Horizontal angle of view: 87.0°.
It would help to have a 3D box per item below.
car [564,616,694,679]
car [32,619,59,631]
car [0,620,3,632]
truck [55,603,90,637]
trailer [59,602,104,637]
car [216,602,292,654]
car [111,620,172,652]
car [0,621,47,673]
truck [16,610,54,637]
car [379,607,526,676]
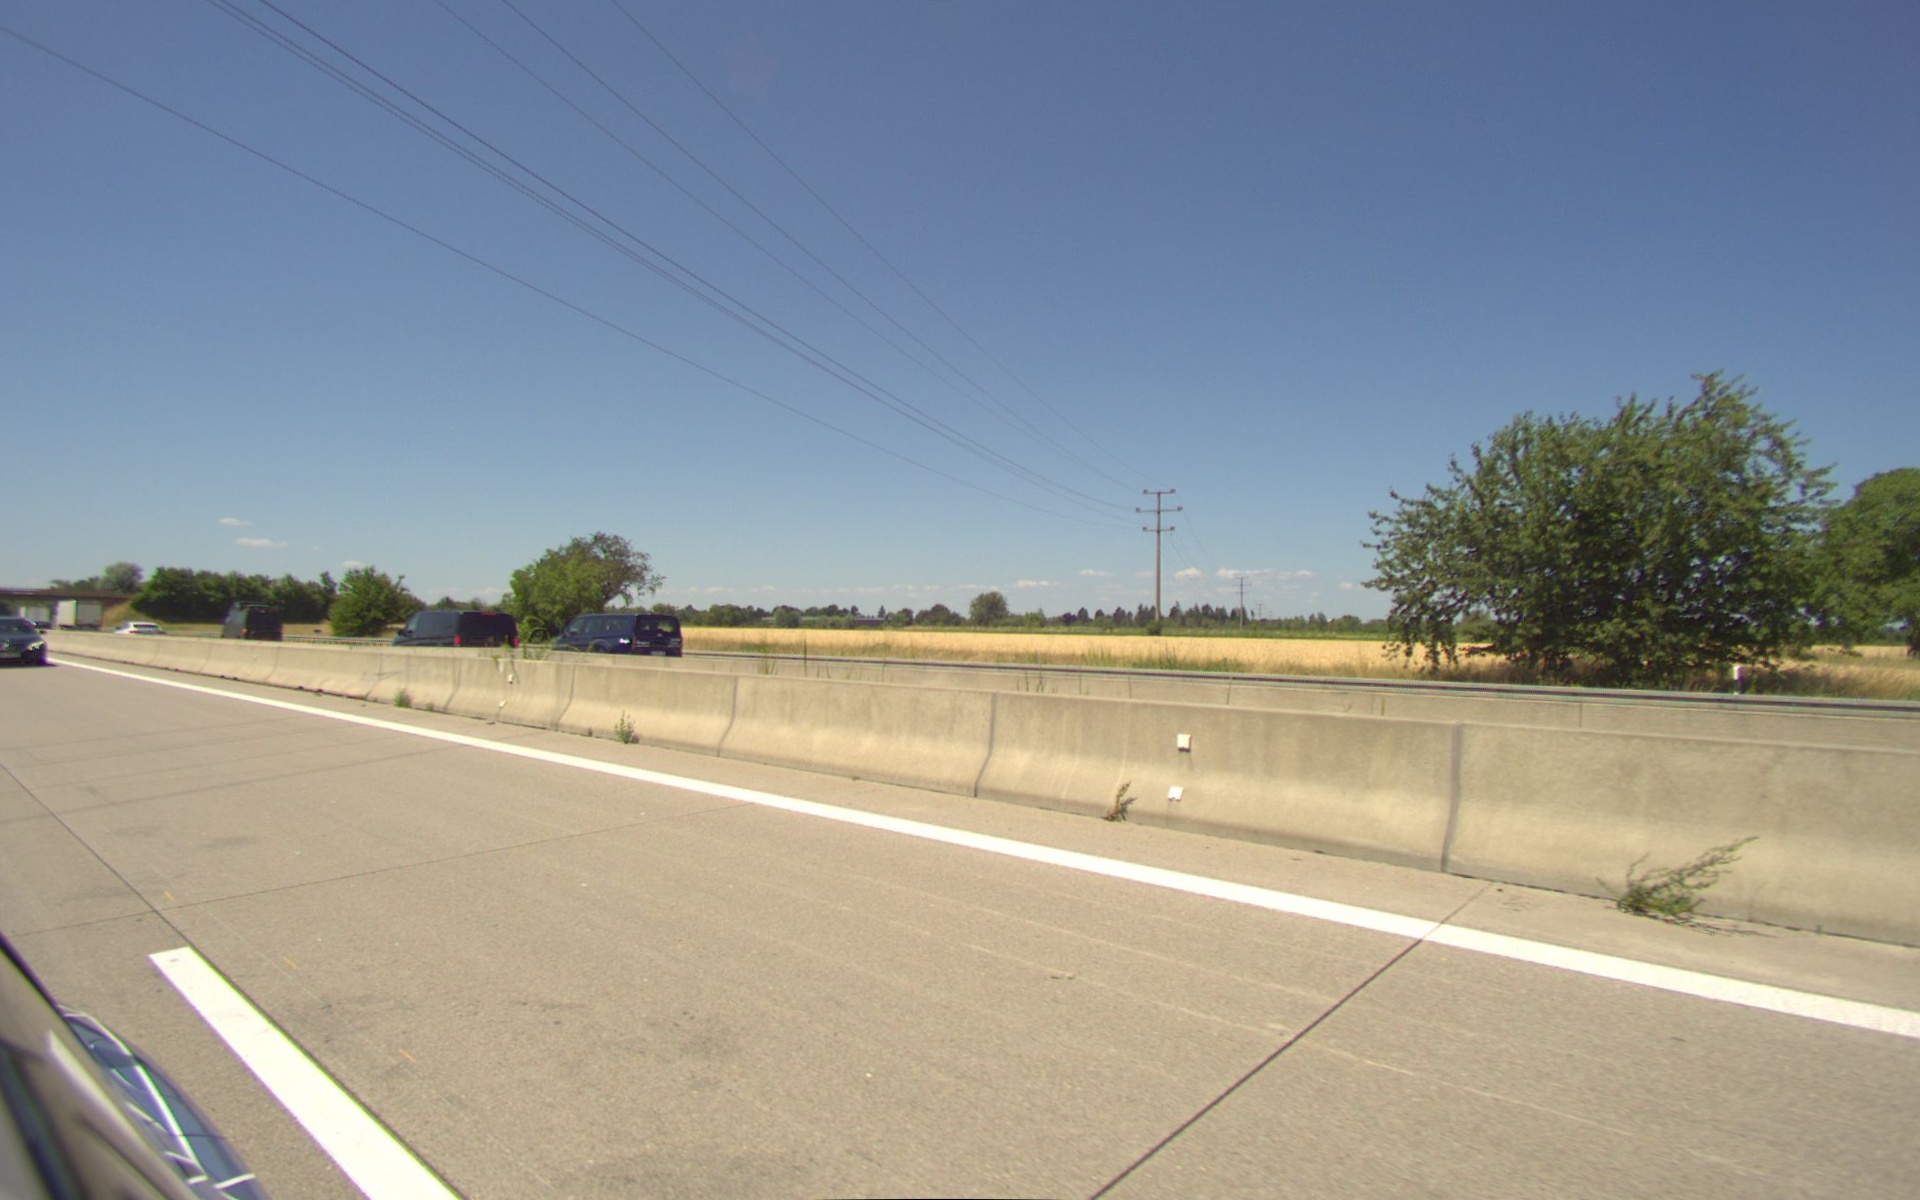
[{"bbox_3d":[-10.269,1.408,31.271,4.000,1.803,2.147,-1,-1,43],"label":"car"},{"bbox_3d":[-81.540,2.220,90.258,3.523,1.061,1.504,-2,-1,43],"label":"car"},{"bbox_3d":[-115.493,3.094,120.557,4.493,1.362,1.826,-1,-2,43],"label":"car"},{"bbox_3d":[-112.267,2.514,128.053,5.678,4.075,2.788,-1,-1,43],"label":"truck"},{"bbox_3d":[-107.066,2.411,123.204,12.676,4.075,2.789,-1,-1,43],"label":"trailer"},{"bbox_3d":[-40.918,1.586,58.591,6.791,2.807,2.223,-1,-1,43],"label":"car"},{"bbox_3d":[-46.283,1.995,57.196,5.106,1.665,1.853,-1,-1,41],"label":"car"},{"bbox_3d":[-29.636,1.376,30.769,6.344,1.482,1.973,-1,-3,41],"label":"car"},{"bbox_3d":[-111.614,2.826,122.117,7.920,3.166,2.520,-1,-1,42],"label":"truck"},{"bbox_3d":[-15.087,1.159,29.902,5.825,1.840,1.972,-1,-1,43],"label":"car"}]
